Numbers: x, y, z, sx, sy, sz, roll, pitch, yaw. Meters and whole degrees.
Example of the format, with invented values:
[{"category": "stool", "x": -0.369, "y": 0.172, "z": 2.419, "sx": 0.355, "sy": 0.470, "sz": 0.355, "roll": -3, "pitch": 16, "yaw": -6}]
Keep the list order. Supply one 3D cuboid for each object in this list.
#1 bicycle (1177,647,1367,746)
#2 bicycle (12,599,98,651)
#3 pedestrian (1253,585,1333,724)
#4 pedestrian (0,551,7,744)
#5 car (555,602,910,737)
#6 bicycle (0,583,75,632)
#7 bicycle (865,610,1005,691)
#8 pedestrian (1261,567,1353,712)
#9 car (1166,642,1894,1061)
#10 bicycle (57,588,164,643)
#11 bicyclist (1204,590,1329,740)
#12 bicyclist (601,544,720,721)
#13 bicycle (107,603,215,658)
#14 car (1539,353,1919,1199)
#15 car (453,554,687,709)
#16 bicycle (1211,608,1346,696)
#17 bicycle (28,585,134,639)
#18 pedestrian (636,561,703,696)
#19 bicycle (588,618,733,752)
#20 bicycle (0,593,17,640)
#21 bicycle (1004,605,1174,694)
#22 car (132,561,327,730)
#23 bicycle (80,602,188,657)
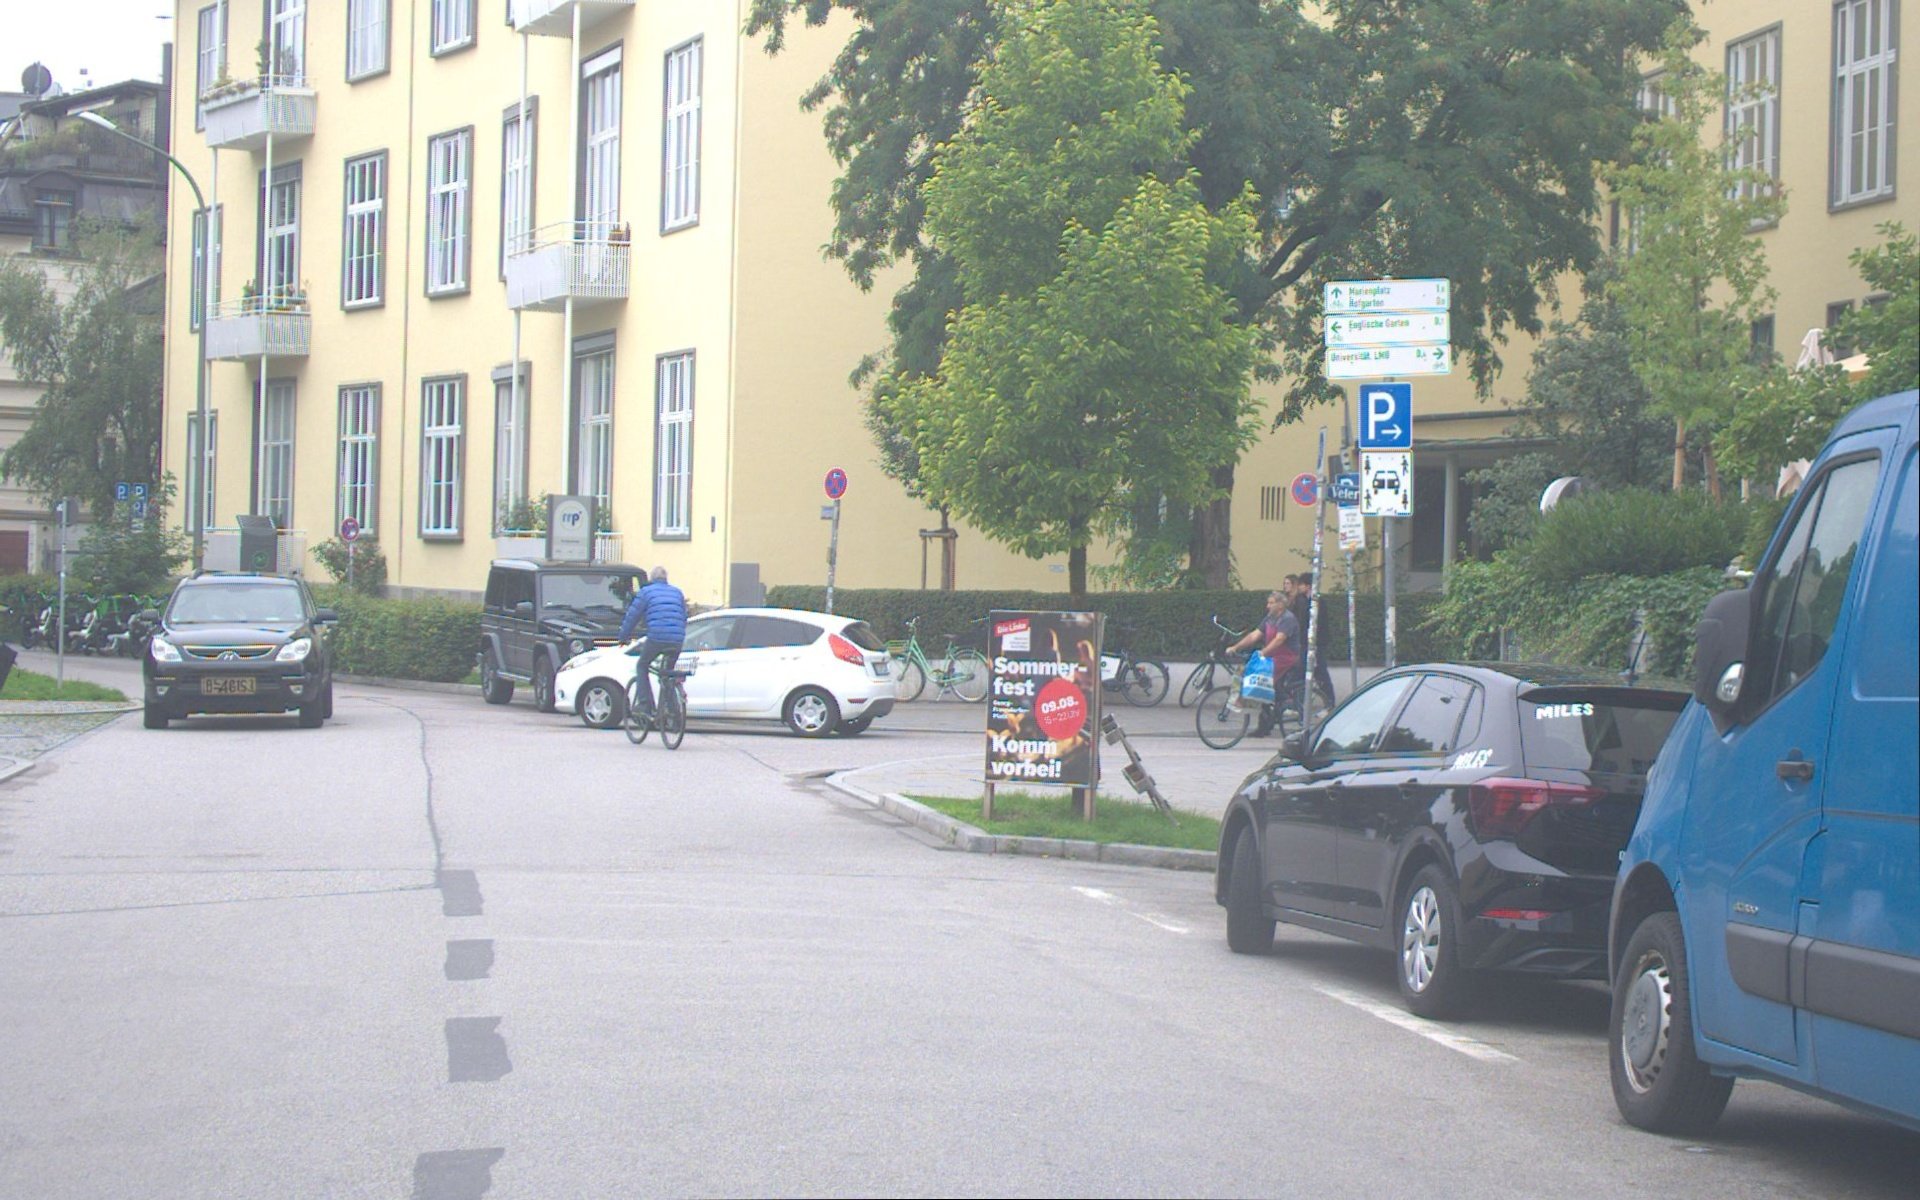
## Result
[{"category": "bicycle", "x": 3.473, "y": 1.057, "z": 38.148, "sx": 2.185, "sy": 1.016, "sz": 0.879, "roll": 0, "pitch": 1, "yaw": -44}, {"category": "bicycle", "x": -18.209, "y": 0.501, "z": 69.229, "sx": 0.532, "sy": 1.025, "sz": 1.975, "roll": 1, "pitch": 0, "yaw": 24}, {"category": "pedestrian", "x": 4.273, "y": 0.694, "z": 44.116, "sx": 0.826, "sy": 1.740, "sz": 0.741, "roll": 1, "pitch": 1, "yaw": -9}, {"category": "pedestrian", "x": -8.740, "y": 0.412, "z": 30.388, "sx": 0.542, "sy": 1.691, "sz": 0.667, "roll": -1, "pitch": 1, "yaw": -20}, {"category": "car", "x": -2.609, "y": 0.780, "z": 39.690, "sx": 3.717, "sy": 1.401, "sz": 1.752, "roll": 1, "pitch": 1, "yaw": 13}, {"category": "bicycle", "x": -19.909, "y": 0.162, "z": 73.243, "sx": 0.618, "sy": 1.025, "sz": 1.972, "roll": 1, "pitch": 0, "yaw": 44}, {"category": "bicycle", "x": -0.346, "y": 0.676, "z": 46.402, "sx": 1.947, "sy": 1.081, "sz": 0.528, "roll": -1, "pitch": -1, "yaw": 35}, {"category": "pedestrian", "x": 4.386, "y": 0.498, "z": 43.491, "sx": 0.989, "sy": 1.803, "sz": 0.660, "roll": 1, "pitch": 0, "yaw": -9}, {"category": "car", "x": 2.309, "y": 0.994, "z": 15.068, "sx": 1.714, "sy": 1.390, "sz": 4.001, "roll": 5, "pitch": 0, "yaw": -12}, {"category": "bicycle", "x": -16.489, "y": 0.304, "z": 66.743, "sx": 0.618, "sy": 1.025, "sz": 1.972, "roll": 1, "pitch": 0, "yaw": 44}, {"category": "bicyclist", "x": 3.395, "y": 0.706, "z": 38.060, "sx": 1.046, "sy": 1.604, "sz": 0.878, "roll": 0, "pitch": 1, "yaw": -43}, {"category": "bicyclist", "x": -3.050, "y": 0.318, "z": 34.915, "sx": 0.914, "sy": 1.758, "sz": 1.215, "roll": 1, "pitch": 1, "yaw": -18}, {"category": "bicycle", "x": -15.190, "y": 0.582, "z": 65.401, "sx": 0.618, "sy": 1.025, "sz": 1.972, "roll": 1, "pitch": 0, "yaw": 44}, {"category": "car", "x": 3.339, "y": 0.585, "z": 8.951, "sx": 2.109, "sy": 2.206, "sz": 5.029, "roll": 6, "pitch": -2, "yaw": -6}, {"category": "car", "x": -5.207, "y": 0.376, "z": 45.348, "sx": 1.873, "sy": 1.881, "sz": 4.620, "roll": 1, "pitch": 1, "yaw": -22}, {"category": "bicycle", "x": 4.195, "y": 0.686, "z": 45.308, "sx": 1.681, "sy": 1.126, "sz": 0.460, "roll": 1, "pitch": 1, "yaw": -9}, {"category": "bicycle", "x": -17.324, "y": 0.243, "z": 67.774, "sx": 0.618, "sy": 1.025, "sz": 1.972, "roll": 1, "pitch": 0, "yaw": 44}, {"category": "pedestrian", "x": -3.870, "y": 0.372, "z": 45.740, "sx": 0.848, "sy": 1.751, "sz": 0.954, "roll": 0, "pitch": 1, "yaw": -7}, {"category": "bicycle", "x": -3.061, "y": 0.840, "z": 34.915, "sx": 0.920, "sy": 1.248, "sz": 2.322, "roll": 1, "pitch": 1, "yaw": -19}, {"category": "bicycle", "x": -21.482, "y": 0.348, "z": 74.468, "sx": 0.618, "sy": 1.025, "sz": 1.972, "roll": 1, "pitch": 0, "yaw": 44}, {"category": "bicycle", "x": 1.705, "y": 0.645, "z": 45.434, "sx": 2.168, "sy": 1.112, "sz": 0.640, "roll": 1, "pitch": 1, "yaw": 8}, {"category": "car", "x": -8.264, "y": 0.463, "z": 38.715, "sx": 1.993, "sy": 1.713, "sz": 4.616, "roll": 1, "pitch": 1, "yaw": -13}, {"category": "bicycle", "x": -15.848, "y": 0.577, "z": 65.973, "sx": 0.618, "sy": 1.025, "sz": 1.972, "roll": 1, "pitch": 0, "yaw": 44}]
